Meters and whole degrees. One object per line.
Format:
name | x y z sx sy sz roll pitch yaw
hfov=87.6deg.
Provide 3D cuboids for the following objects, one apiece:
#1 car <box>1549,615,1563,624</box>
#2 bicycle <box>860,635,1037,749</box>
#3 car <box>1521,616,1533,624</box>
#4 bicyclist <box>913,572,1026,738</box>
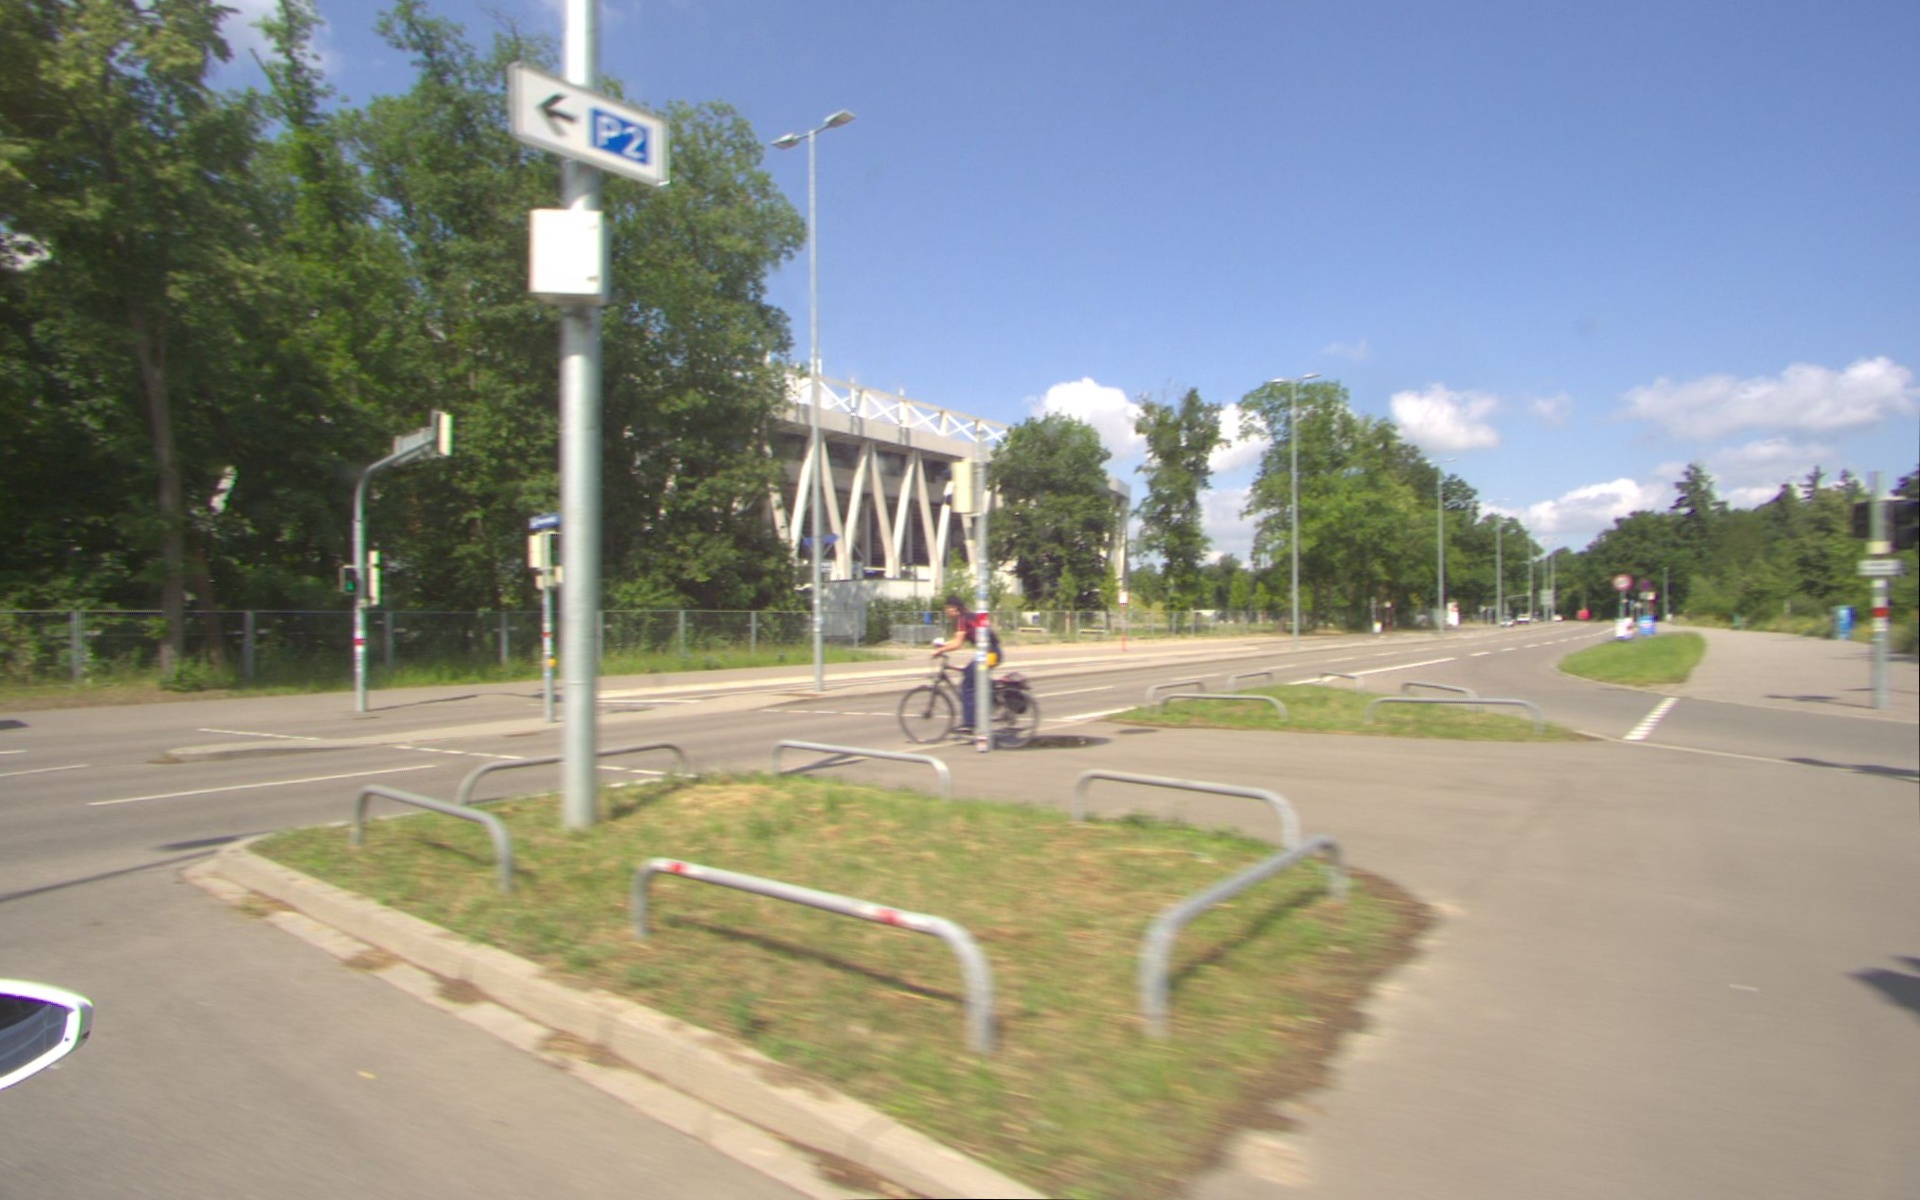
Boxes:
car | 99.136 3.264 166.596 1.561 1.498 3.545 -3 -2 38
bicycle | -0.139 1.054 11.728 1.869 1.221 0.880 -3 -1 28
car | 106.663 3.795 188.413 1.561 1.498 3.547 -3 -2 37
bicyclist | 0.121 0.626 11.598 0.964 1.821 0.884 -2 -1 28
